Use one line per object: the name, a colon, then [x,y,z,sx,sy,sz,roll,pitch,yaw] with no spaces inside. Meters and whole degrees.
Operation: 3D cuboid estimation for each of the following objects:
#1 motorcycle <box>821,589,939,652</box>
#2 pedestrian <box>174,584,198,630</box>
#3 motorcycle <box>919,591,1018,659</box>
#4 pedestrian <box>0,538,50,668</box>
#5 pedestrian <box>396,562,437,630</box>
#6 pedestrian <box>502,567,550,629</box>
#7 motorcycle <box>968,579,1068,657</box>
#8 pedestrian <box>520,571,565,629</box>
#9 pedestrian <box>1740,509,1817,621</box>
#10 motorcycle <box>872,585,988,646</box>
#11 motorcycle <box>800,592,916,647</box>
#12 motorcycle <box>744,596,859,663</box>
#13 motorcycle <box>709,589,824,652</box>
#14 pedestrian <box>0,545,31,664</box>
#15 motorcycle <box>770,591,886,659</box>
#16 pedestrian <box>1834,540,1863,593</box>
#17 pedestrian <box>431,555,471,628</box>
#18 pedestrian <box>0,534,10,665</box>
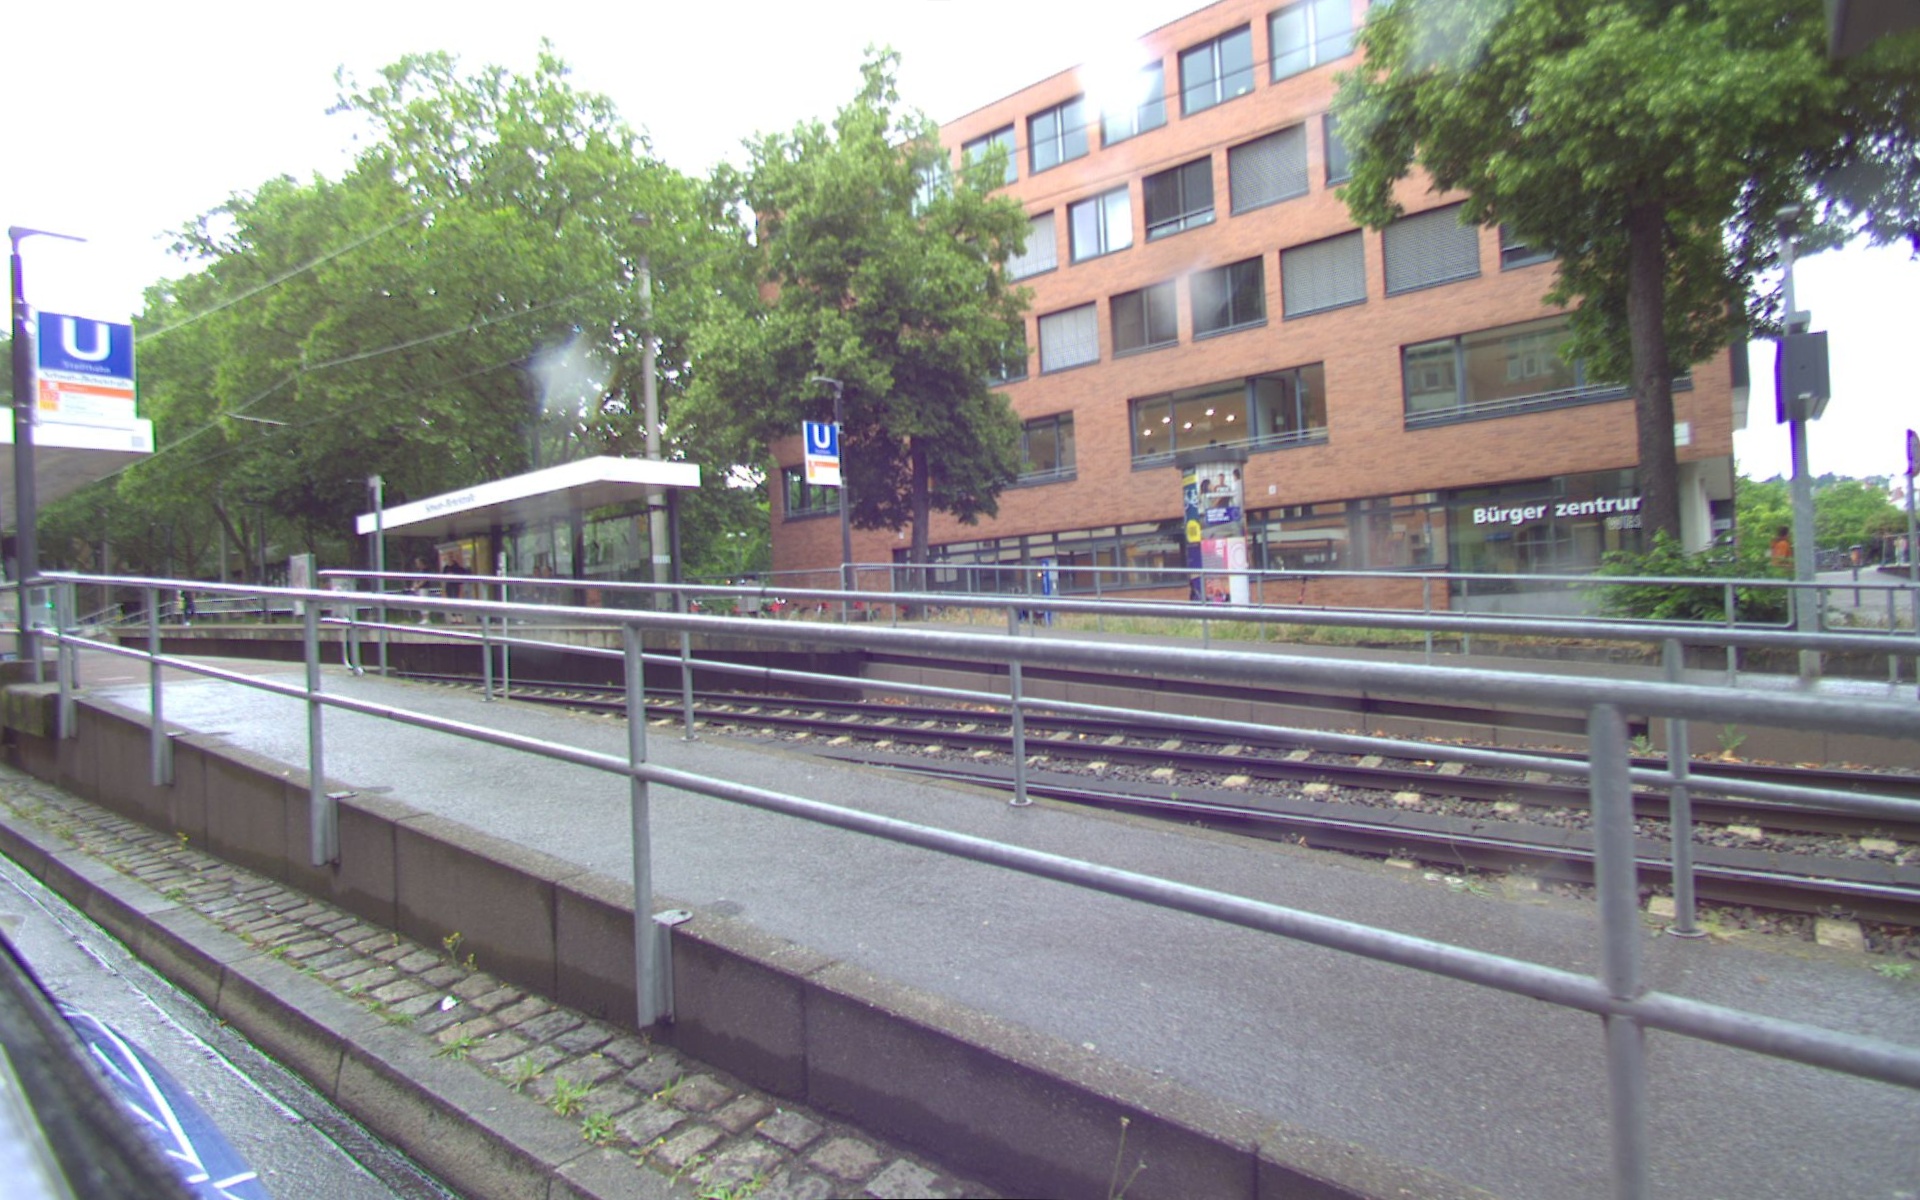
motorcycle: [-2.182,0.531,28.417,1.004,1.617,3.829,-1,1,36]
pedestrian: [-28.580,0.253,37.347,0.689,1.653,0.556,-2,0,45]
motorcycle: [0.277,0.615,26.803,1.004,1.640,3.031,-1,1,36]
pedestrian: [-11.899,0.040,12.719,0.507,1.593,0.607,-2,0,41]
pedestrian: [-13.602,-0.099,25.340,0.563,1.653,0.680,-2,0,36]
pedestrian: [-9.826,-0.045,22.924,0.563,1.373,0.770,-2,0,36]
motorcycle: [1.511,0.420,25.530,0.992,1.829,3.009,-1,1,36]
pedestrian: [-9.310,-0.011,22.573,0.563,1.249,0.697,-2,0,36]
pedestrian: [15.353,-0.647,19.007,0.977,2.029,0.727,-2,0,30]
motorcycle: [-0.761,0.381,27.764,1.004,1.499,3.829,-1,1,36]
motorcycle: [-2.899,0.533,29.446,1.004,1.417,3.829,-1,1,36]
motorcycle: [-4.768,0.847,30.901,1.004,1.829,3.829,-1,1,36]
motorcycle: [-5.994,0.594,31.726,1.004,1.787,3.829,-1,1,36]
pedestrian: [-13.065,0.065,13.721,0.507,1.593,0.607,-2,0,41]
motorcycle: [-3.871,0.707,30.190,1.004,1.829,3.829,-1,1,36]
pedestrian: [34.754,-1.311,39.587,0.715,2.029,0.712,-2,-1,33]
pedestrian: [-12.323,-0.197,24.509,0.704,1.728,0.557,-2,0,36]
pedestrian: [-12.768,0.005,13.105,0.587,1.701,0.607,-2,0,42]
